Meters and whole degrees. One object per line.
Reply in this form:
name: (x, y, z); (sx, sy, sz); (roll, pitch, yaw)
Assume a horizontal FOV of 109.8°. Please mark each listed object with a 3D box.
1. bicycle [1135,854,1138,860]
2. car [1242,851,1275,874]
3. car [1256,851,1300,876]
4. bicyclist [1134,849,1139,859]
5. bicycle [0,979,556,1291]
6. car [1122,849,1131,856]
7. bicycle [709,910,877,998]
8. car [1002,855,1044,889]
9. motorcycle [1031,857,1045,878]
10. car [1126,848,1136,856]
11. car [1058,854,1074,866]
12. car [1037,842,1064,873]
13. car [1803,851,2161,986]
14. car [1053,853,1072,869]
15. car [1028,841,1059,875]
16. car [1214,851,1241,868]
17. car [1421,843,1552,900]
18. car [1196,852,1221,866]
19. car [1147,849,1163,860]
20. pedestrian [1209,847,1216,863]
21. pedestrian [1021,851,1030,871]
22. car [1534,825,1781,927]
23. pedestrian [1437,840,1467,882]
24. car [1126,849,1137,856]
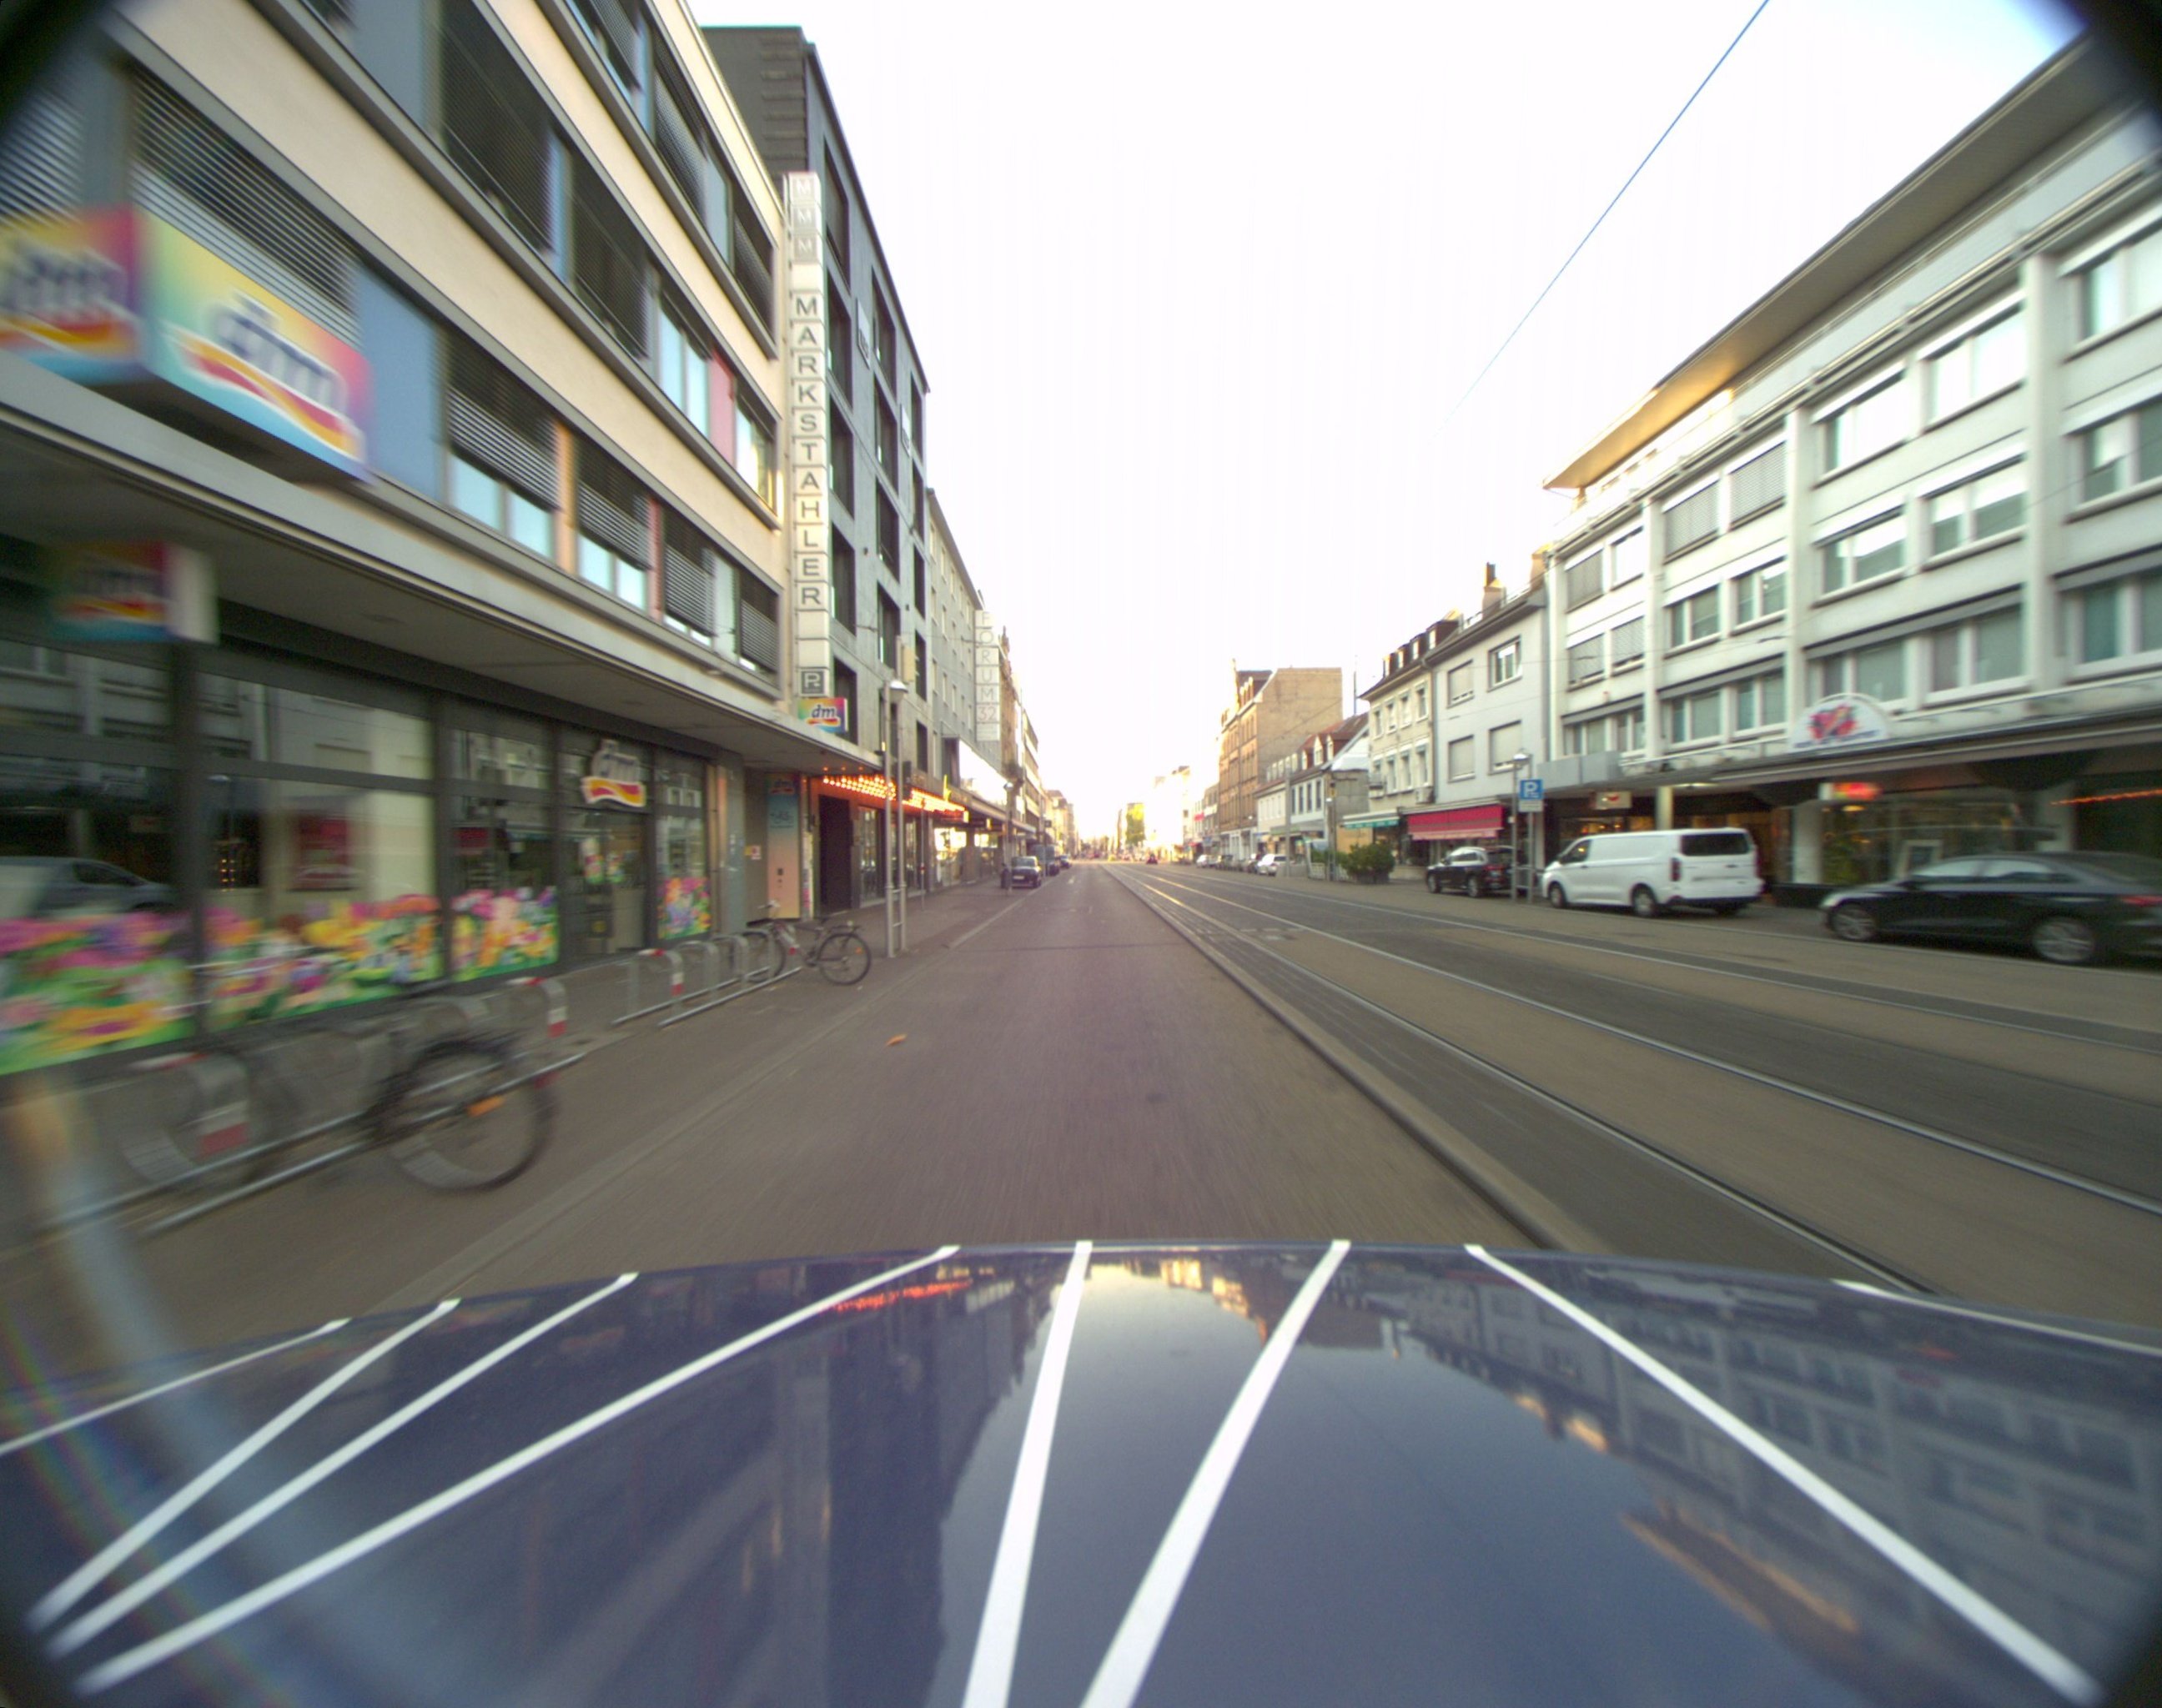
bicycle: (10.044, 0.534, 137.478); (0.493, 1.183, 2.265); (-3, 1, 0)
car: (13.459, 0.641, 57.830); (1.660, 1.561, 3.470); (-3, 1, 1)
car: (13.624, 0.629, 52.779); (1.896, 1.547, 4.622); (-3, 1, 1)
bicyclist: (10.044, 0.061, 137.404); (0.882, 1.795, 0.900); (-3, 1, 2)
bicycle: (-3.465, 1.161, 3.325); (1.844, 1.103, 0.642); (0, 1, -2)
car: (11.757, -0.465, 195.147); (1.998, 1.685, 3.999); (-3, 1, 0)
bicycle: (-3.446, 1.198, 9.191); (1.799, 0.967, 0.575); (1, 1, -2)
car: (-2.819, 0.842, 37.656); (1.744, 1.532, 3.965); (-1, 1, 0)
motorcycle: (-2.999, 0.904, 53.043); (0.785, 1.396, 2.637); (0, 0, 0)
car: (11.833, -0.490, 178.261); (1.998, 1.830, 3.999); (-3, 1, 0)
car: (-2.044, 0.759, 102.255); (1.999, 1.538, 3.876); (-3, 0, -1)
car: (-2.623, 0.251, 66.759); (1.998, 2.559, 5.604); (-3, 1, 1)
car: (13.280, 0.731, 10.715); (1.876, 1.418, 4.570); (-3, 1, 1)
car: (-2.134, 0.770, 89.230); (1.998, 1.663, 3.876); (-3, 1, 0)
car: (-2.914, 0.295, 59.923); (2.080, 2.434, 5.603); (-3, 0, -1)
car: (14.094, 0.499, 73.367); (1.846, 1.484, 3.816); (-3, 1, 1)
car: (13.641, 0.516, 25.920); (1.998, 1.687, 4.588); (-3, 1, 1)
car: (14.336, 0.512, 85.592); (1.999, 1.412, 4.402); (-3, 1, -2)
car: (11.439, 0.042, 118.029); (1.998, 1.554, 3.999); (-3, 1, 0)
pedestrian: (16.648, 0.128, 96.077); (0.748, 2.002, 1.049); (-3, 1, 5)
pedestrian: (-4.920, 0.642, 67.304); (0.743, 1.746, 0.789); (1, 1, -3)
car: (13.376, 0.423, 18.171); (1.969, 2.002, 5.099); (-3, 1, 0)
pedestrian: (16.086, 0.287, 32.966); (0.819, 1.772, 0.818); (-3, 1, 1)
car: (10.947, -0.272, 163.691); (1.998, 1.434, 3.999); (-3, 1, 0)
